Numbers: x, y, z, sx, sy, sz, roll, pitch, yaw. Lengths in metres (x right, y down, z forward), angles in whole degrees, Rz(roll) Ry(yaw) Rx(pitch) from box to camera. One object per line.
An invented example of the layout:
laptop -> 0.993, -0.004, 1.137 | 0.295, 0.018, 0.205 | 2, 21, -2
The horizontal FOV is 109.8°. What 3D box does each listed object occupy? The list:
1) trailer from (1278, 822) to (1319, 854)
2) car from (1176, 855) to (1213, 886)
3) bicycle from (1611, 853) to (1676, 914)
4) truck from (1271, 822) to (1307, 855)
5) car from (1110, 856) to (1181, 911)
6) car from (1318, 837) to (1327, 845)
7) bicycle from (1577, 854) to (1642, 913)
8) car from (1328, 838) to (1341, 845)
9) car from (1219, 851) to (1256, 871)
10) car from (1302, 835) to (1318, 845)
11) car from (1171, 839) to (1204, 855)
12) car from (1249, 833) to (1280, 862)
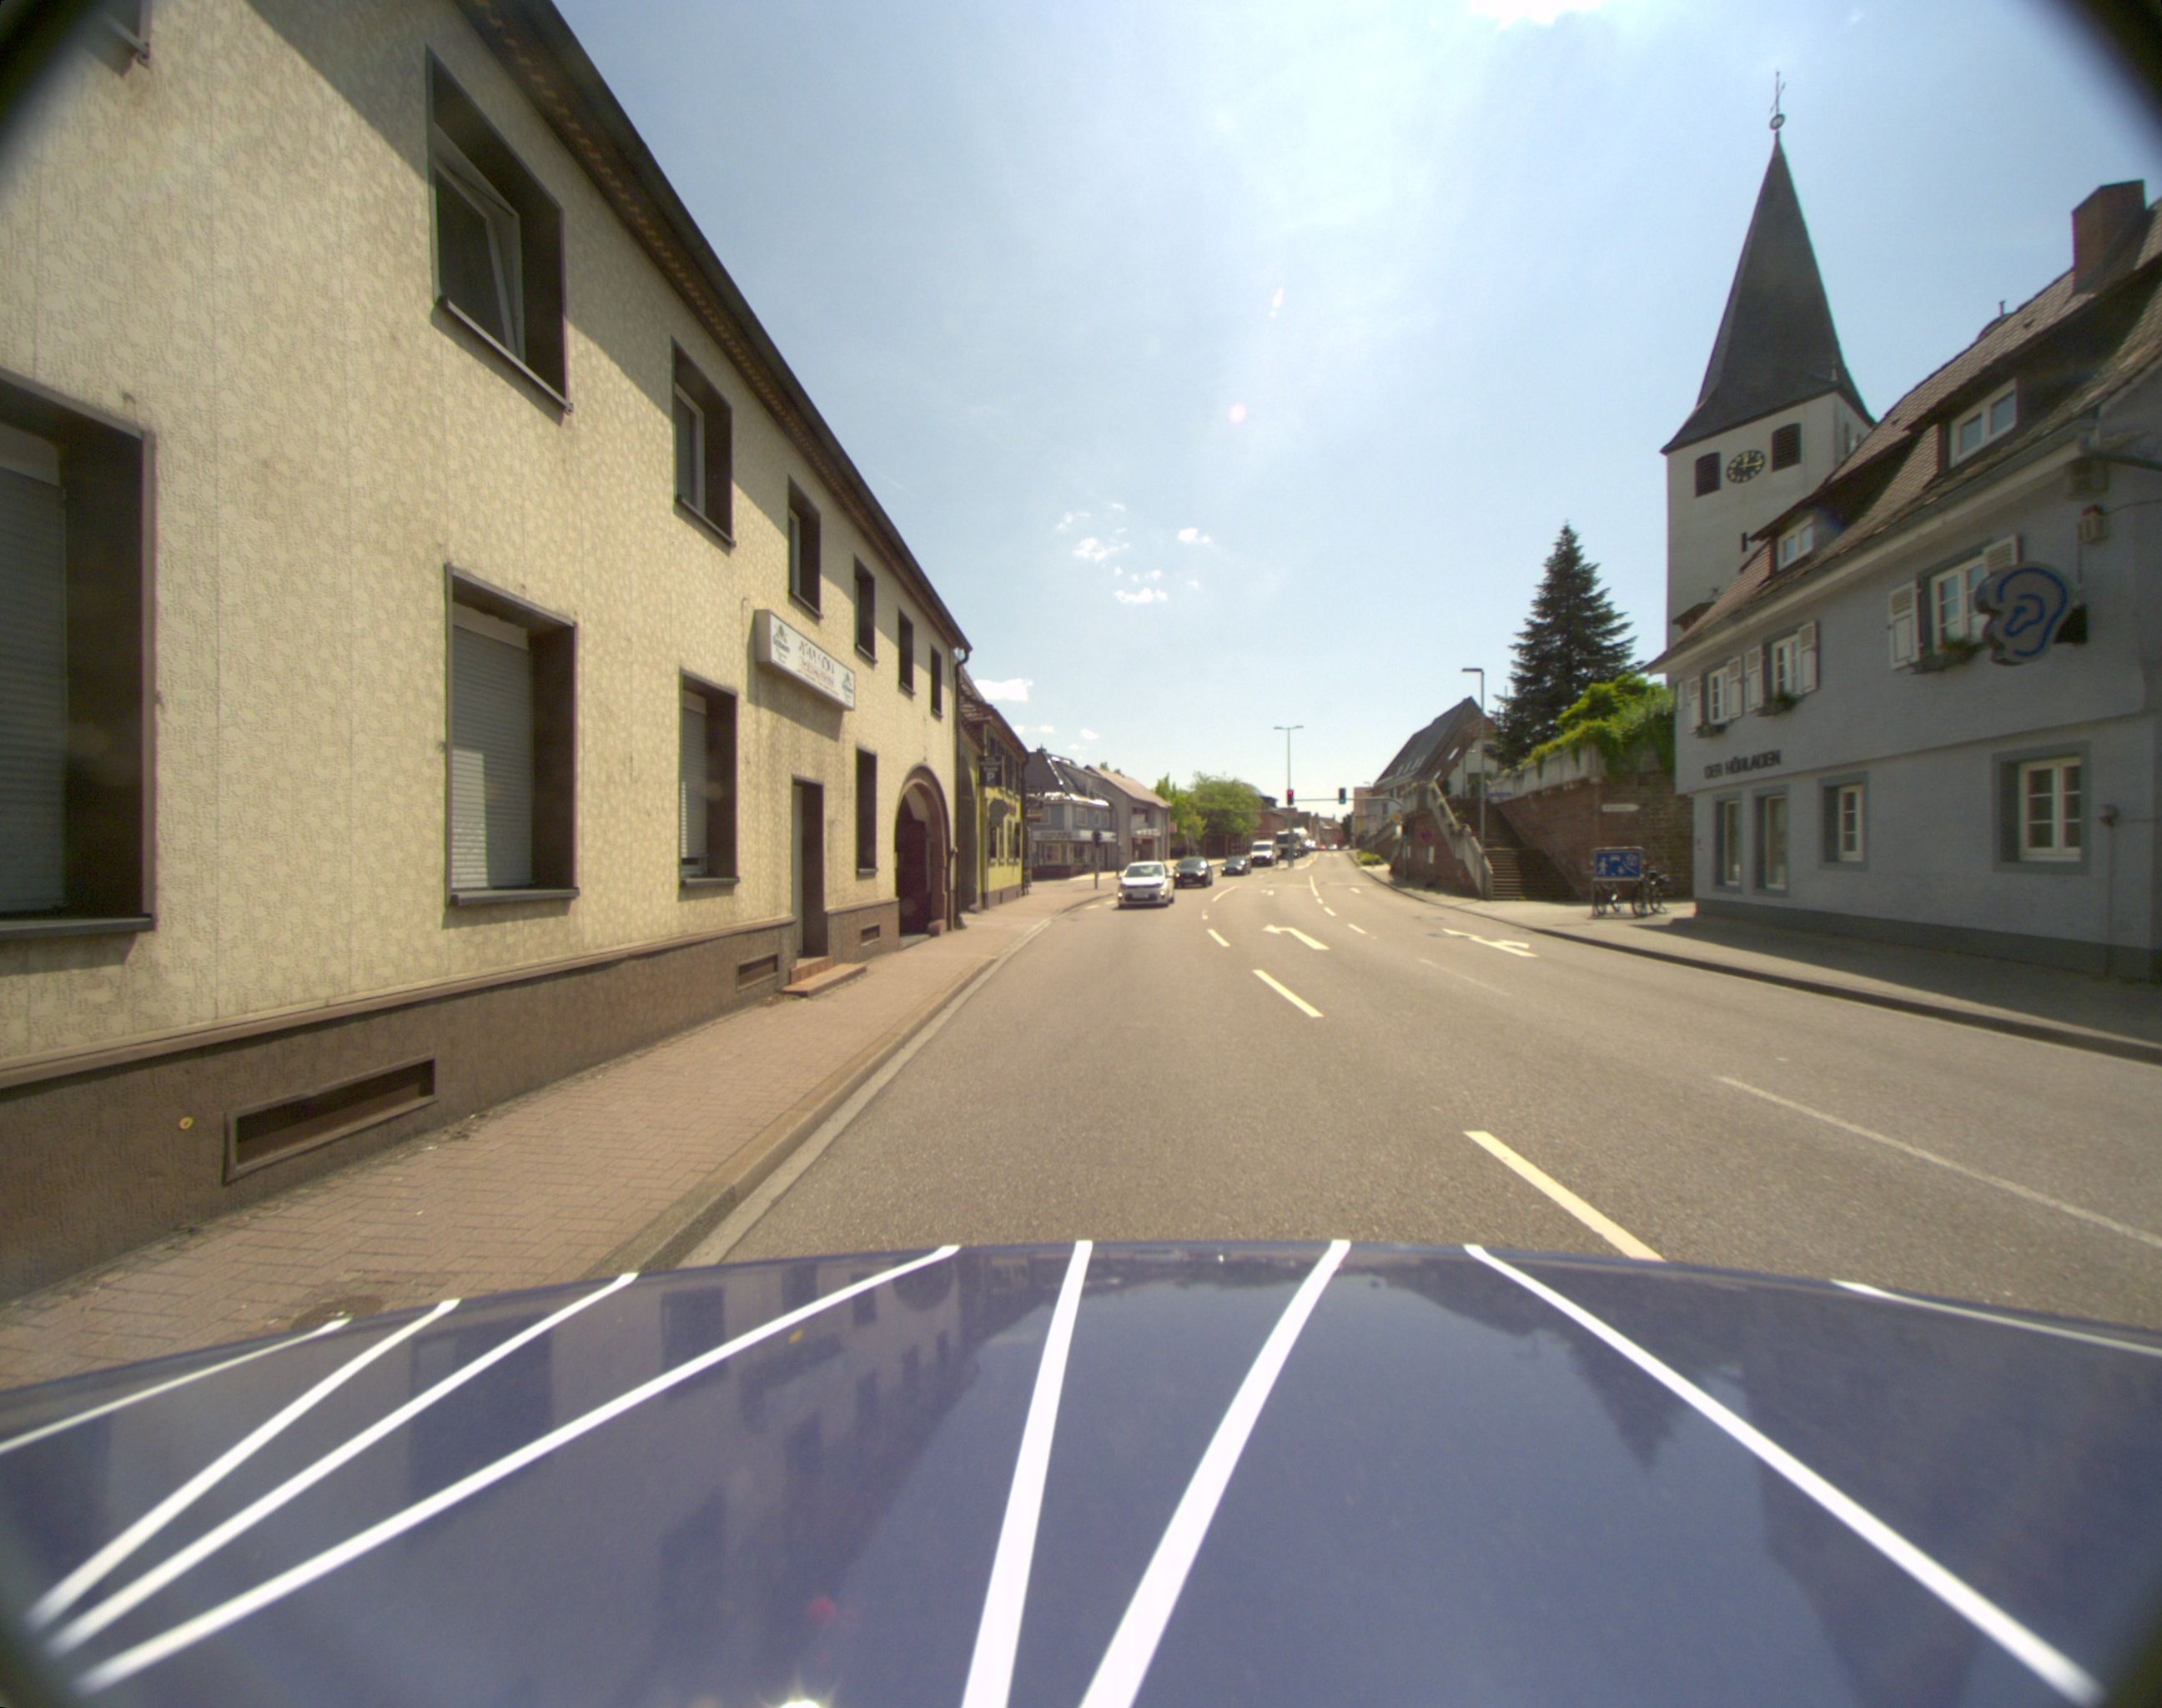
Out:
trailer -> 26.316, -1.900, 91.485 | 2.833, 3.549, 10.984 | -1, 0, 26
car -> 6.419, 0.893, 42.621 | 1.723, 1.541, 4.306 | -3, 0, 11
bicycle -> 12.983, 0.664, 17.531 | 1.834, 1.241, 0.577 | -4, -1, -35
truck -> 23.424, -1.747, 85.495 | 2.843, 3.549, 5.477 | -1, 0, 26
car -> 2.276, 0.936, 25.659 | 1.723, 1.541, 4.307 | -3, 0, 13
car -> 57.310, -3.051, 180.225 | 1.764, 1.775, 4.005 | -2, 0, 20
bicycle -> 12.551, 0.682, 18.019 | 1.834, 1.241, 0.577 | -4, -1, -35
car -> 59.037, -2.843, 176.949 | 2.008, 1.621, 4.586 | -1, 0, 27
car -> 12.096, 0.507, 58.586 | 1.926, 1.358, 4.309 | -3, 0, 22
car -> 40.739, -2.496, 134.899 | 2.008, 1.621, 4.585 | -1, 0, 26
car -> 13.215, -0.898, 94.052 | 3.756, 1.701, 1.726 | -3, 1, 16
car -> 17.441, -0.629, 72.067 | 2.172, 2.549, 4.831 | -1, 0, 22
